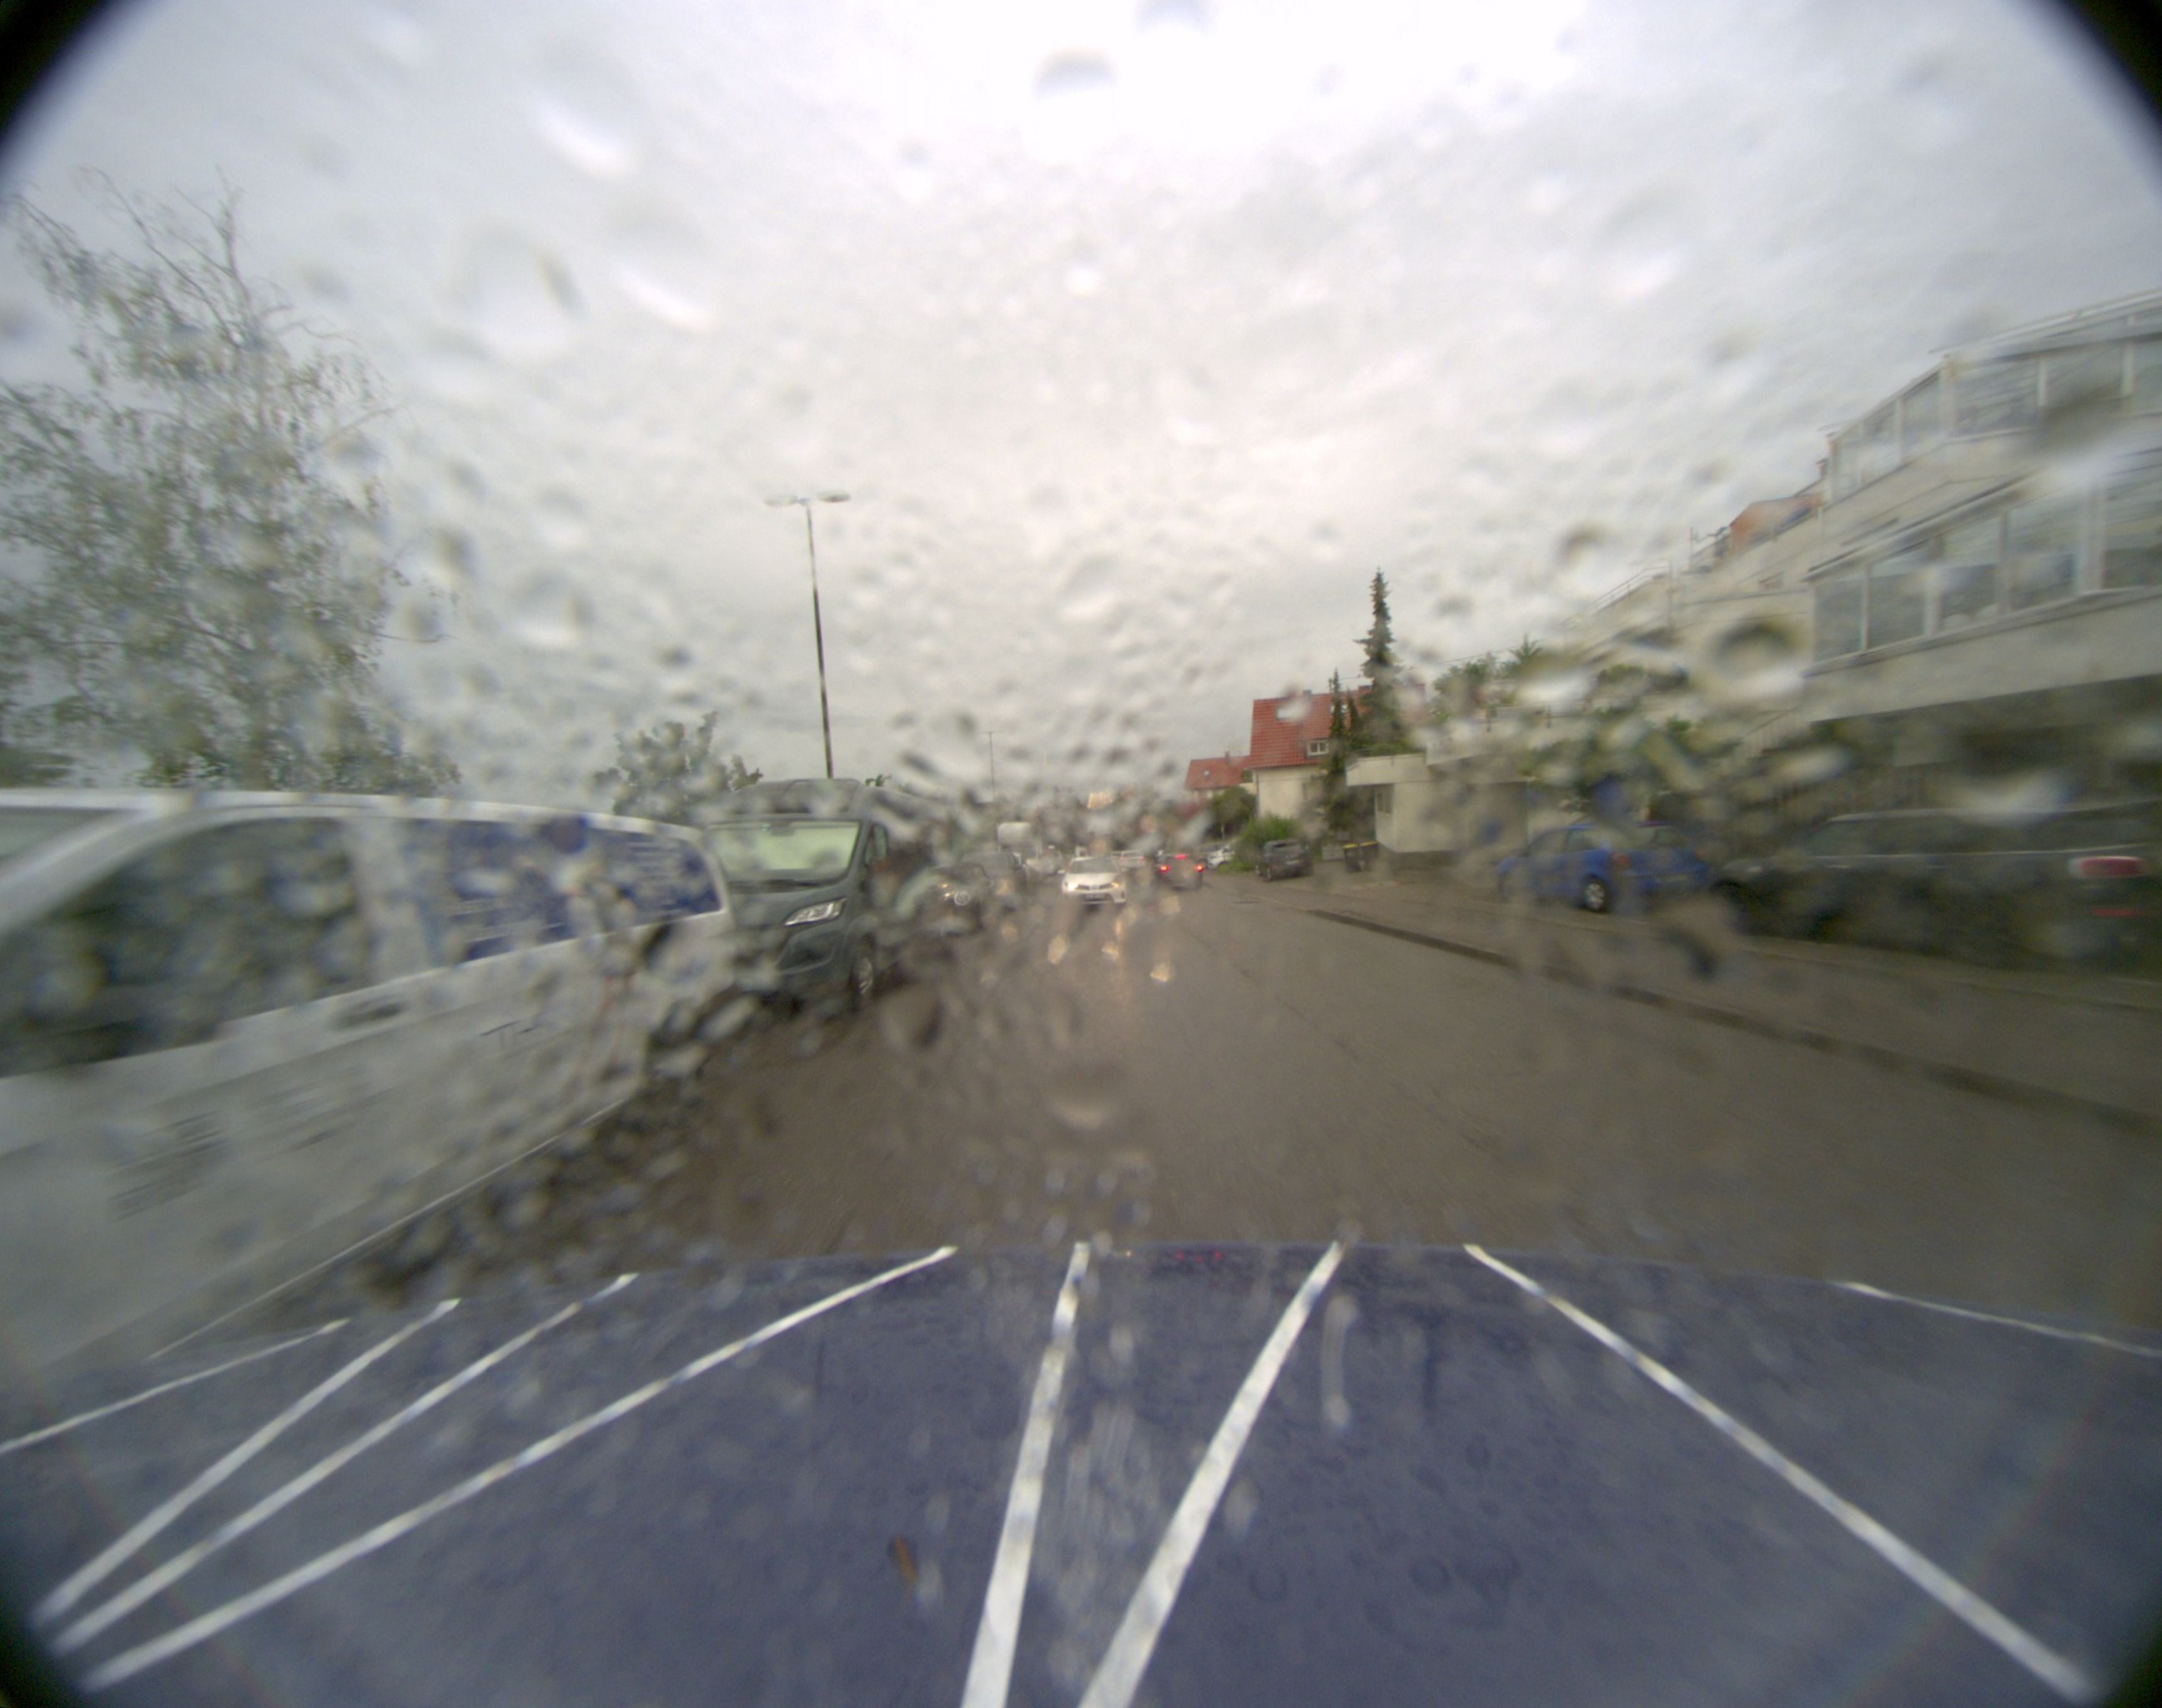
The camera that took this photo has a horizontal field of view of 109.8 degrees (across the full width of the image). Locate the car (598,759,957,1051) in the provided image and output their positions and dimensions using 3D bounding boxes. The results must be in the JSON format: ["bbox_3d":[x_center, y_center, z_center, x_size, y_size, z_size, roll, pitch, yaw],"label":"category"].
[{"bbox_3d":[-3.129,0.430,9.601,2.036,2.491,5.955,-2,0,0],"label":"car"}]

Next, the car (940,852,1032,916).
[{"bbox_3d":[-2.713,0.801,22.823,1.941,1.662,4.694,-2,0,2],"label":"car"}]

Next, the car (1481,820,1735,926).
[{"bbox_3d":[8.999,0.297,13.460,1.611,1.426,3.959,-6,0,0],"label":"car"}]

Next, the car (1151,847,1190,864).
[{"bbox_3d":[9.603,0.152,81.691,3.831,1.470,1.805,4,2,15],"label":"car"}]

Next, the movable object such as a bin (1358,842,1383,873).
[{"bbox_3d":[10.993,0.125,28.880,0.725,1.064,0.767,-7,1,18],"label":"movable object such as a bin"}]

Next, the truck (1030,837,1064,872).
[{"bbox_3d":[-2.734,0.017,62.218,2.244,2.616,6.538,-2,1,2],"label":"truck"}]

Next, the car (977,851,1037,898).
[{"bbox_3d":[-2.975,0.752,31.605,1.850,1.674,5.638,-2,1,0],"label":"car"}]

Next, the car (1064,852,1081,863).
[{"bbox_3d":[-1.235,0.526,107.200,1.796,1.451,4.790,-2,1,6],"label":"car"}]

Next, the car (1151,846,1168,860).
[{"bbox_3d":[8.965,-0.086,86.564,1.769,1.368,4.249,-6,0,8],"label":"car"}]

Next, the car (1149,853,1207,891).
[{"bbox_3d":[3.879,0.682,30.978,1.778,1.429,4.361,0,0,0],"label":"car"}]

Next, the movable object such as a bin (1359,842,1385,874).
[{"bbox_3d":[10.749,0.142,28.081,0.725,1.064,0.767,-7,1,18],"label":"movable object such as a bin"}]

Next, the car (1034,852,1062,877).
[{"bbox_3d":[-2.352,0.731,54.413,1.764,1.595,4.666,-2,1,0],"label":"car"}]

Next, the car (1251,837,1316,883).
[{"bbox_3d":[8.509,0.219,32.314,1.693,1.579,4.197,-9,0,4],"label":"car"}]

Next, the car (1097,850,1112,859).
[{"bbox_3d":[4.180,0.142,134.005,1.635,1.448,3.705,-1,1,17],"label":"car"}]

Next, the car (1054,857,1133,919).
[{"bbox_3d":[0.349,0.859,20.823,1.863,1.369,4.181,-4,0,1],"label":"car"}]

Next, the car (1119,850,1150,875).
[{"bbox_3d":[3.532,0.518,51.172,1.803,1.558,4.384,-1,0,1],"label":"car"}]

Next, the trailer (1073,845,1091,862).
[{"bbox_3d":[0.188,-0.118,119.145,1.952,2.442,5.438,-2,1,10],"label":"trailer"}]

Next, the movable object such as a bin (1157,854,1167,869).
[{"bbox_3d":[5.962,0.540,55.886,0.604,1.057,0.698,-4,1,-4],"label":"movable object such as a bin"}]

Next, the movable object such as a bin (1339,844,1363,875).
[{"bbox_3d":[10.327,0.202,29.111,0.725,1.064,0.850,-7,1,19],"label":"movable object such as a bin"}]

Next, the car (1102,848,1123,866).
[{"bbox_3d":[3.146,0.244,74.822,1.910,1.598,4.429,-3,0,3],"label":"car"}]

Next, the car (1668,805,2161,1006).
[{"bbox_3d":[8.560,0.353,7.841,1.637,1.388,4.238,-6,0,1],"label":"car"}]

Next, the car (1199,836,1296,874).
[{"bbox_3d":[9.278,0.057,42.261,5.091,1.933,2.144,-2,1,17],"label":"car"}]

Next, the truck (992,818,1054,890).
[{"bbox_3d":[-2.853,-0.030,39.692,2.442,3.316,7.964,-2,1,0],"label":"truck"}]

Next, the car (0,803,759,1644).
[{"bbox_3d":[-3.268,0.820,2.728,1.831,1.831,5.269,-2,0,1],"label":"car"}]

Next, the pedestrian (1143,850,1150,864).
[{"bbox_3d":[7.842,0.340,91.127,0.718,1.625,0.707,-2,1,2],"label":"pedestrian"}]

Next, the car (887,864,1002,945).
[{"bbox_3d":[-2.786,0.985,16.318,1.593,1.421,3.798,-2,0,2],"label":"car"}]

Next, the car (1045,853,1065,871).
[{"bbox_3d":[-2.465,0.763,73.733,1.652,1.554,3.963,-2,1,2],"label":"car"}]

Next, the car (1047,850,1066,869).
[{"bbox_3d":[-2.583,0.507,80.294,1.854,1.871,4.909,-2,1,-2],"label":"car"}]

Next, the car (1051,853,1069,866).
[{"bbox_3d":[-2.528,0.629,91.553,1.820,1.498,4.724,-2,1,2],"label":"car"}]

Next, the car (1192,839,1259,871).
[{"bbox_3d":[9.586,0.057,50.334,4.061,1.682,1.895,-6,1,14],"label":"car"}]

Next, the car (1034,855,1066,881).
[{"bbox_3d":[-1.912,0.830,48.174,1.836,1.429,4.985,-2,1,0],"label":"car"}]
